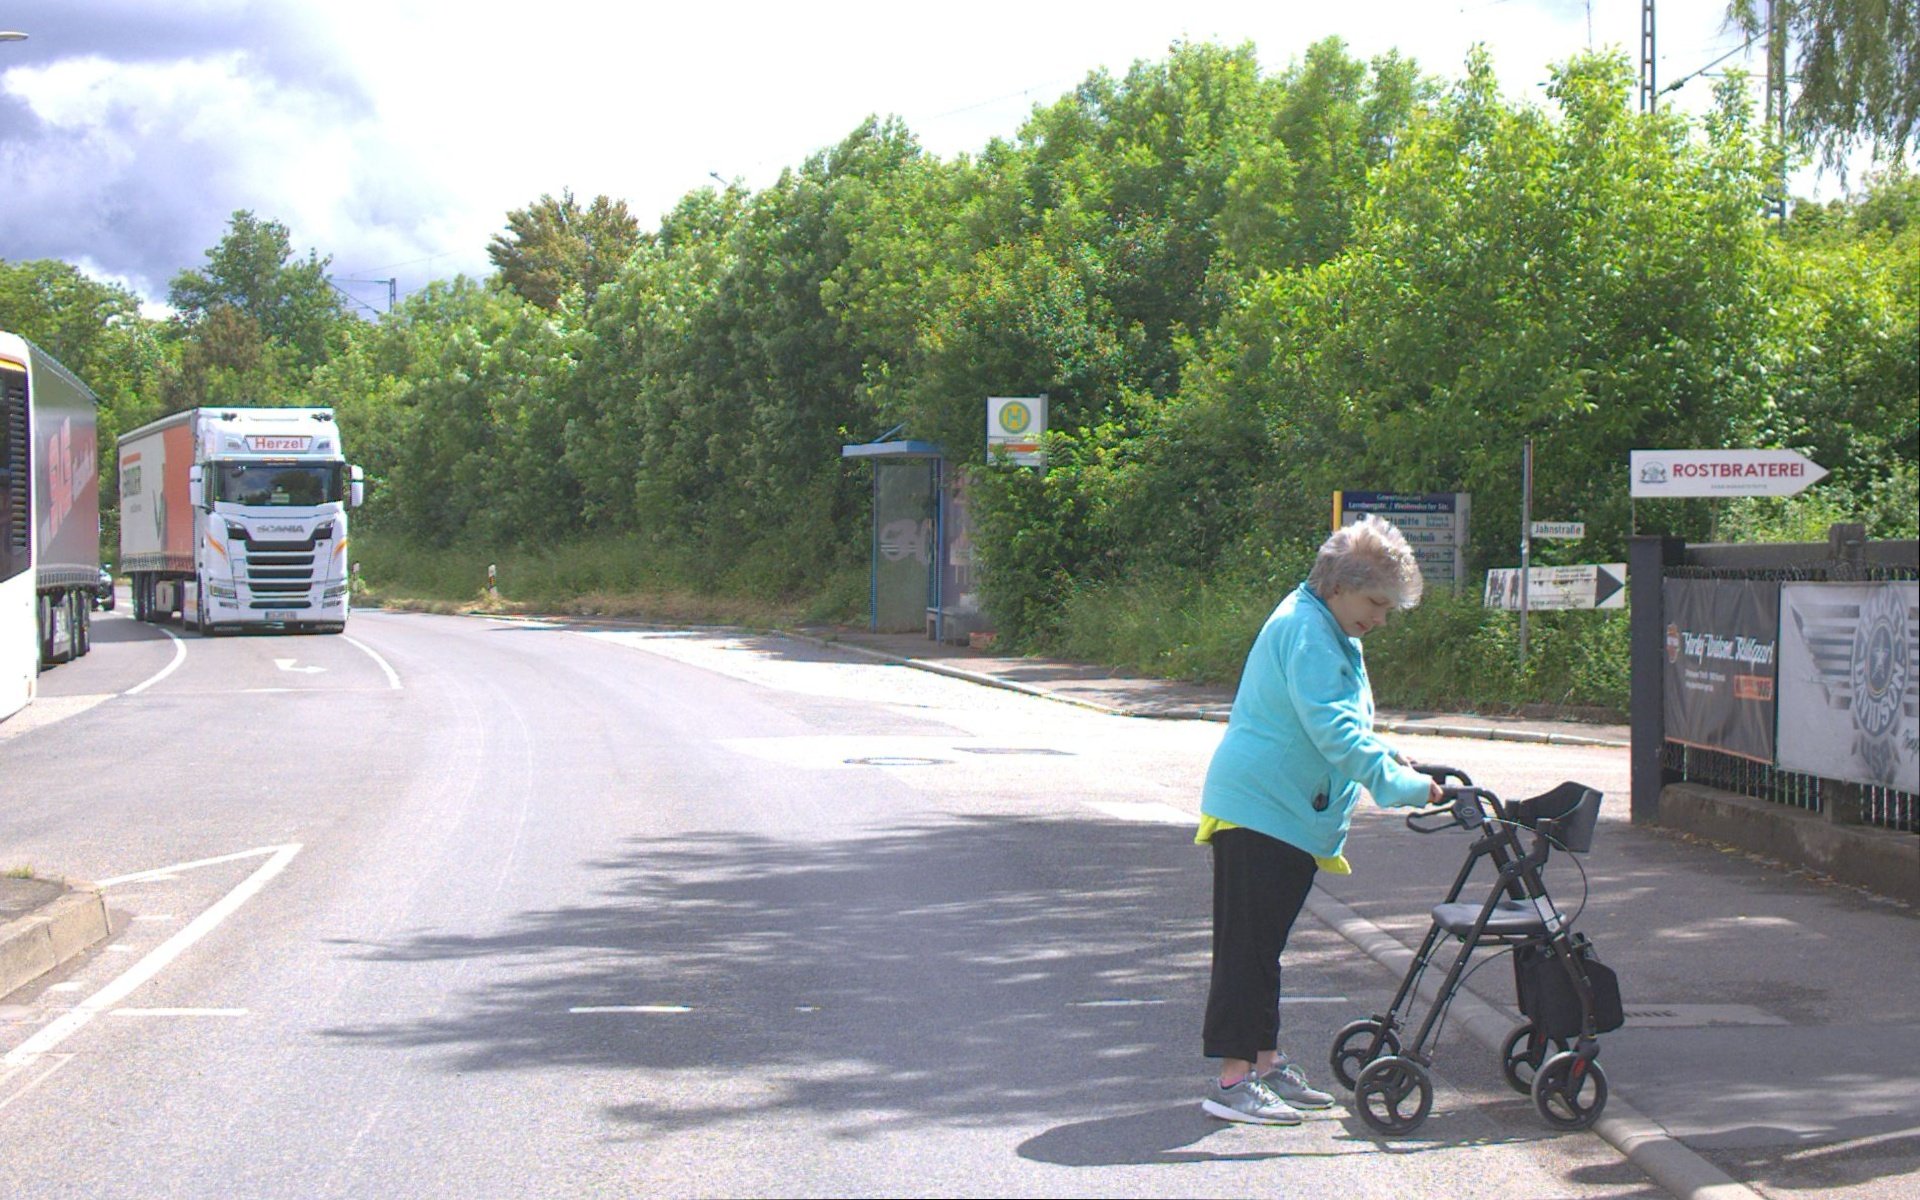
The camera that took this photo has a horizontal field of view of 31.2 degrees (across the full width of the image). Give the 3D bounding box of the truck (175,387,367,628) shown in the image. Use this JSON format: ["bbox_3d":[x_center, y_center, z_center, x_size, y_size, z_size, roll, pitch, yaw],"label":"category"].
[{"bbox_3d":[-12.426,-1.612,61.736,2.770,4.105,4.988,1,1,-18],"label":"truck"}]

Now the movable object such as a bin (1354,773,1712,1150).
[{"bbox_3d":[1.426,0.893,8.659,0.746,0.868,0.671,1,0,-4],"label":"movable object such as a bin"}]

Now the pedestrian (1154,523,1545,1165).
[{"bbox_3d":[0.959,0.585,8.638,0.838,1.538,0.734,1,0,-4],"label":"pedestrian"}]

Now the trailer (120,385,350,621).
[{"bbox_3d":[-14.656,-1.817,68.422,2.770,4.130,15.356,1,1,-18],"label":"trailer"}]

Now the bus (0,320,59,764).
[{"bbox_3d":[-7.840,-0.341,18.796,2.718,3.020,12.266,0,1,-1],"label":"bus"}]

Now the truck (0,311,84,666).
[{"bbox_3d":[-12.446,-1.327,42.192,2.798,4.039,6.503,1,1,-10],"label":"truck"}]

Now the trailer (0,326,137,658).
[{"bbox_3d":[-13.736,-1.418,49.387,2.798,4.039,15.560,1,1,-10],"label":"trailer"}]

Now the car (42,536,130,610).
[{"bbox_3d":[-20.944,-0.664,82.291,1.993,1.700,4.001,1,1,-15],"label":"car"}]
